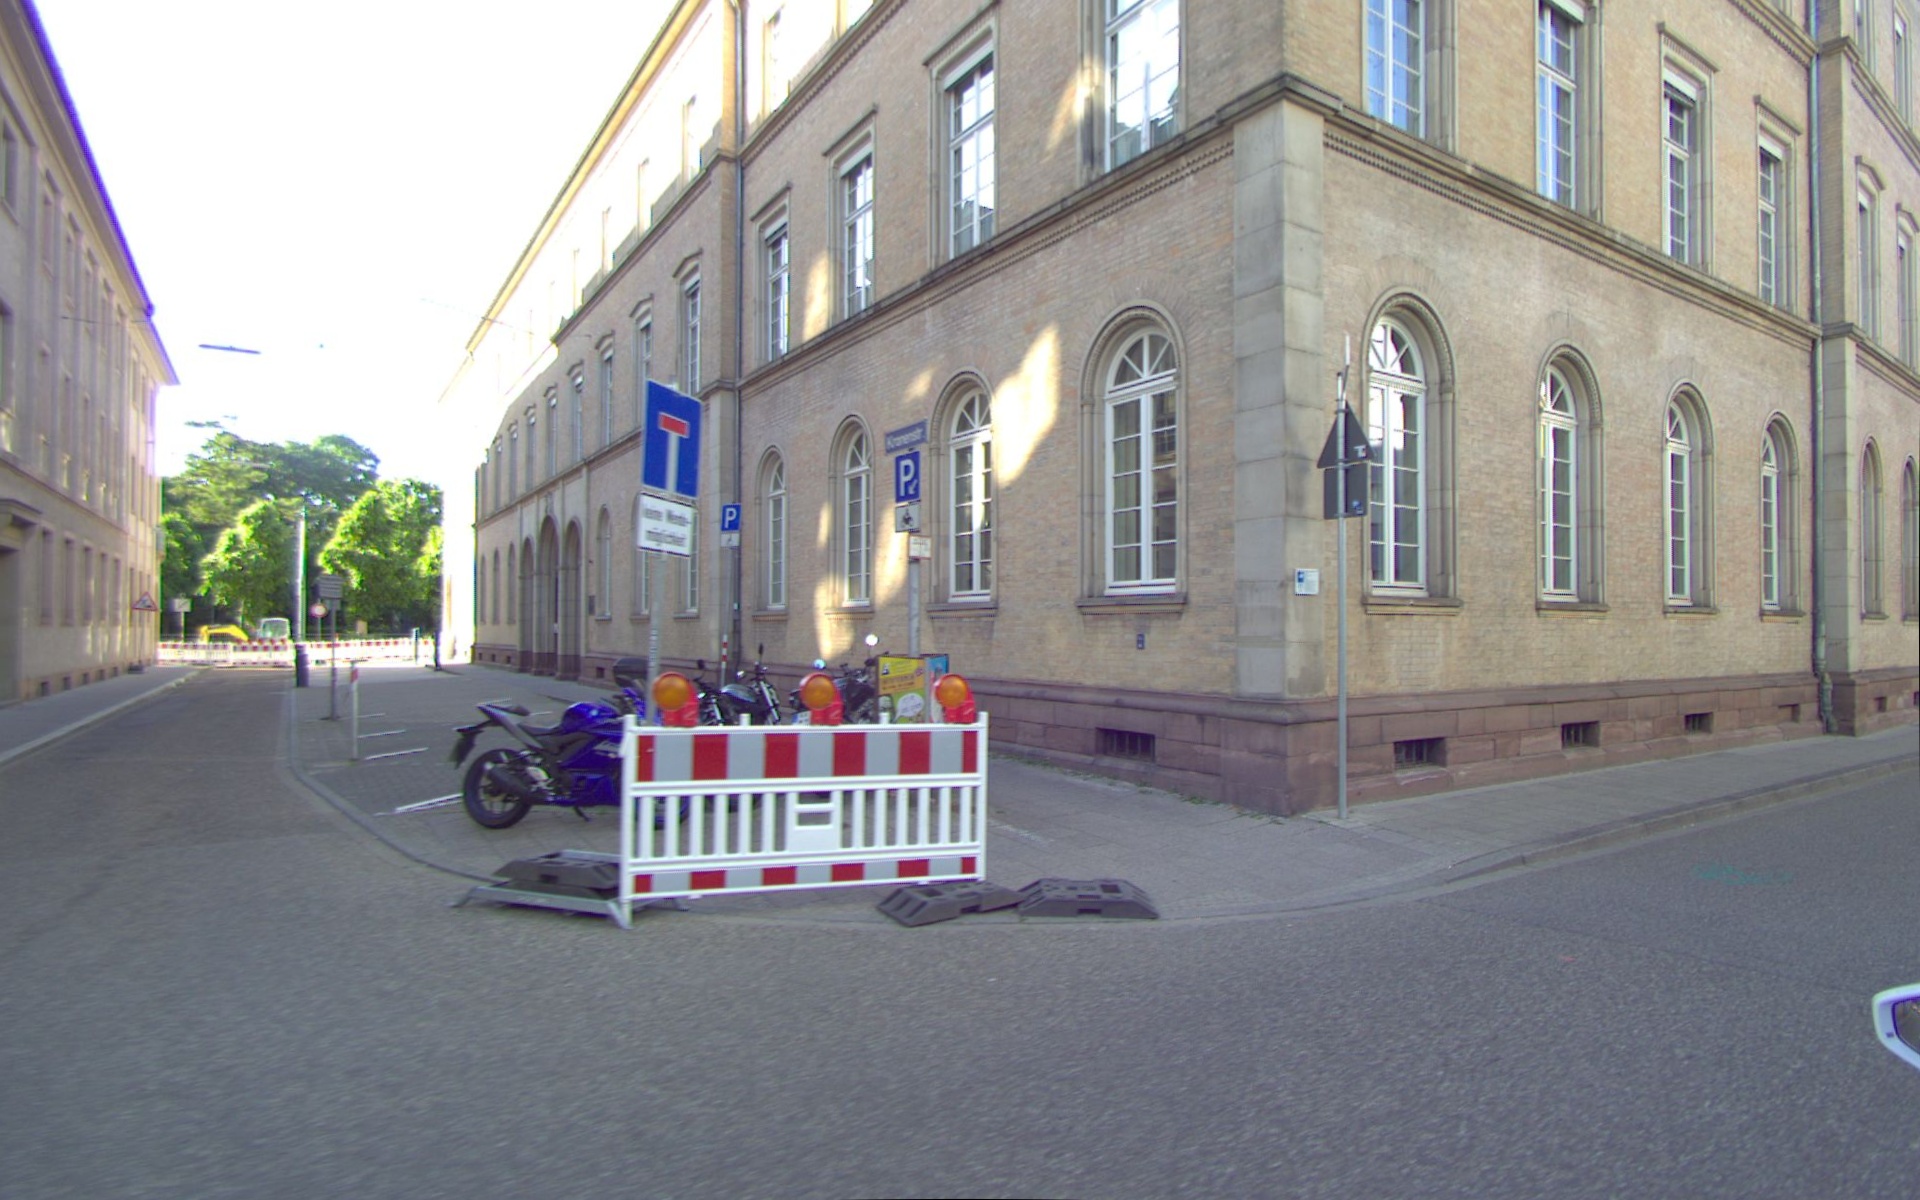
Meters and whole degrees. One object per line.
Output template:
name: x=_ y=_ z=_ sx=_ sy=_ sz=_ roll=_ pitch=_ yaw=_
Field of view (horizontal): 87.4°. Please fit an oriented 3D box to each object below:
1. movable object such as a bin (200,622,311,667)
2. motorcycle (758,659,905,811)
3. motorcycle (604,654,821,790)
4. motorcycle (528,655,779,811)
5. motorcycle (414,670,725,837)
movable object such as a bin: x=-36.346 y=2.276 z=51.995 sx=4.416 sy=2.198 sz=3.077 roll=0 pitch=-2 yaw=-30
motorcycle: x=-1.142 y=1.194 z=9.507 sx=0.647 sy=1.188 sz=2.202 roll=-1 pitch=-2 yaw=13
motorcycle: x=-2.518 y=1.221 z=10.225 sx=2.084 sy=1.291 sz=0.588 roll=-1 pitch=-1 yaw=12
motorcycle: x=-2.777 y=1.180 z=9.111 sx=2.156 sy=1.311 sz=0.588 roll=-1 pitch=-1 yaw=13
motorcycle: x=-3.039 y=1.180 z=7.877 sx=2.237 sy=1.189 sz=0.588 roll=-1 pitch=2 yaw=8
